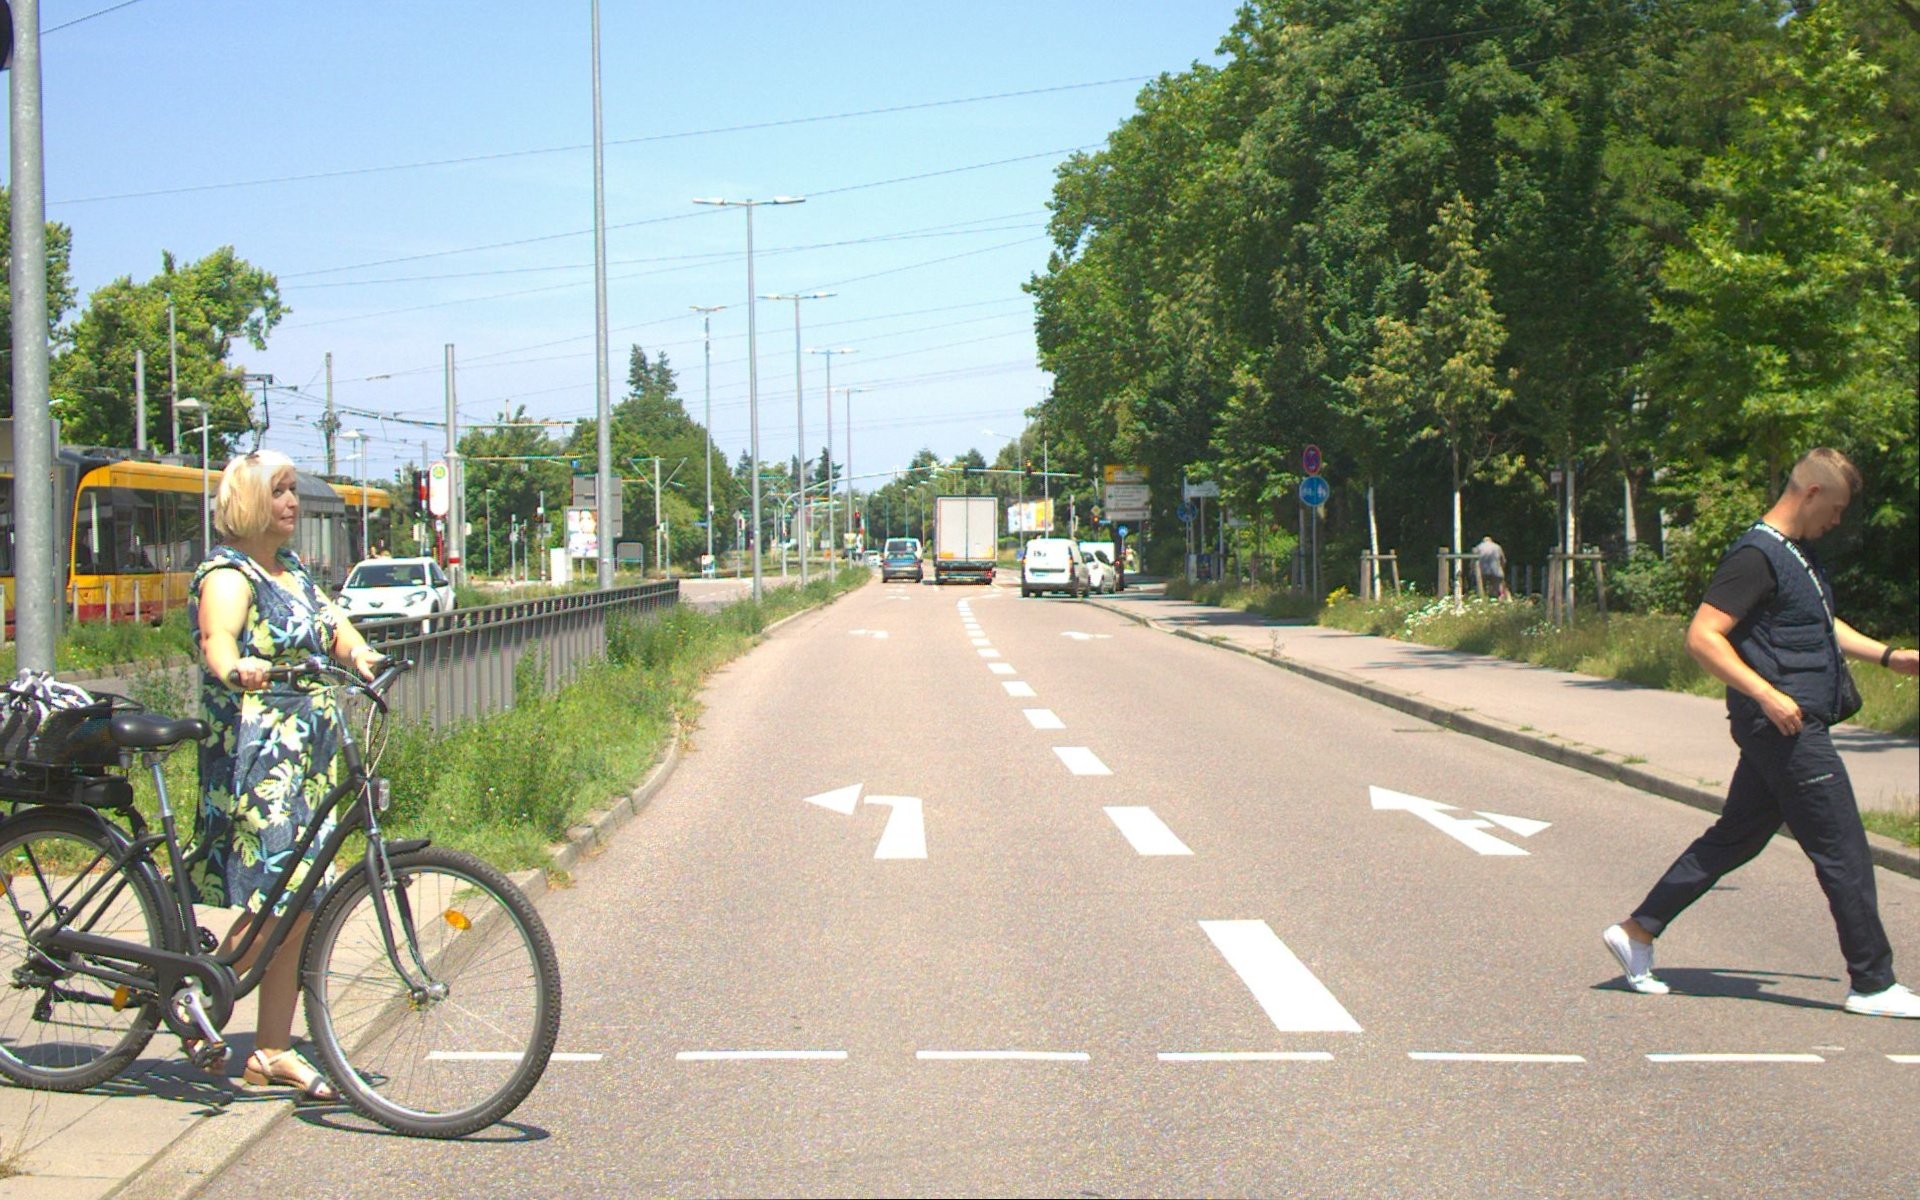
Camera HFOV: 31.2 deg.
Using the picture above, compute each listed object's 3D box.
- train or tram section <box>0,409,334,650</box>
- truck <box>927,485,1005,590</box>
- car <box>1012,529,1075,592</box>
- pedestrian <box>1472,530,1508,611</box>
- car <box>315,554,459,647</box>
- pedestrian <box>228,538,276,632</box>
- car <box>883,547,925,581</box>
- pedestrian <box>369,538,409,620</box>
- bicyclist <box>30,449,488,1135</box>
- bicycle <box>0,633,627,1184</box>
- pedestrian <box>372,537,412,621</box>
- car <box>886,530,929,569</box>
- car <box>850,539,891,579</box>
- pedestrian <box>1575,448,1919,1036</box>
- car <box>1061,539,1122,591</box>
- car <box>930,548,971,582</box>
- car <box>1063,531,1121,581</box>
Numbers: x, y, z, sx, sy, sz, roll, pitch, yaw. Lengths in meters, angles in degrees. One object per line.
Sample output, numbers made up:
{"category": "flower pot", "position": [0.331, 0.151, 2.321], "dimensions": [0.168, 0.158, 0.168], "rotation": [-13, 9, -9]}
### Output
{"category": "train or tram section", "position": [-16.655, -1.352, 67.782], "dimensions": [2.931, 3.776, 33.090], "rotation": [0, 1, -1]}
{"category": "truck", "position": [0.204, -2.647, 146.118], "dimensions": [3.205, 4.344, 6.561], "rotation": [0, 1, -1]}
{"category": "car", "position": [2.549, -1.234, 105.628], "dimensions": [1.779, 1.897, 4.000], "rotation": [0, 1, -1]}
{"category": "pedestrian", "position": [9.399, -0.526, 60.963], "dimensions": [0.604, 1.433, 0.556], "rotation": [0, 1, 6]}
{"category": "car", "position": [-9.659, -0.015, 58.199], "dimensions": [1.845, 1.489, 3.791], "rotation": [0, 1, -1]}
{"category": "pedestrian", "position": [-14.263, -0.307, 69.309], "dimensions": [0.785, 1.862, 0.817], "rotation": [0, 1, -1]}
{"category": "car", "position": [-2.493, -1.628, 153.741], "dimensions": [1.811, 1.459, 4.000], "rotation": [0, 1, -1]}
{"category": "pedestrian", "position": [-14.101, -0.531, 84.955], "dimensions": [0.815, 2.007, 0.938], "rotation": [0, 1, -1]}
{"category": "bicyclist", "position": [-1.806, 0.459, 8.885], "dimensions": [0.958, 1.661, 0.580], "rotation": [3, 3, 17]}
{"category": "bicycle", "position": [-1.854, 0.718, 8.520], "dimensions": [1.959, 1.157, 0.541], "rotation": [3, 3, 18]}
{"category": "pedestrian", "position": [-13.822, -0.514, 83.662], "dimensions": [0.815, 2.007, 0.938], "rotation": [0, 1, -1]}
{"category": "car", "position": [-2.471, -2.379, 163.460], "dimensions": [1.993, 1.809, 4.000], "rotation": [1, 1, -1]}
{"category": "car", "position": [-4.563, -2.092, 175.173], "dimensions": [1.993, 2.007, 4.000], "rotation": [0, 1, -1]}
{"category": "pedestrian", "position": [2.680, 0.428, 10.980], "dimensions": [1.187, 1.772, 0.838], "rotation": [0, -1, 30]}
{"category": "car", "position": [4.291, -1.162, 112.453], "dimensions": [1.779, 1.663, 4.000], "rotation": [0, 1, -1]}
{"category": "car", "position": [-0.442, -1.572, 153.625], "dimensions": [1.811, 1.459, 4.000], "rotation": [0, 1, -1]}
{"category": "car", "position": [4.540, -1.527, 118.796], "dimensions": [1.779, 1.663, 4.000], "rotation": [0, 1, -1]}
